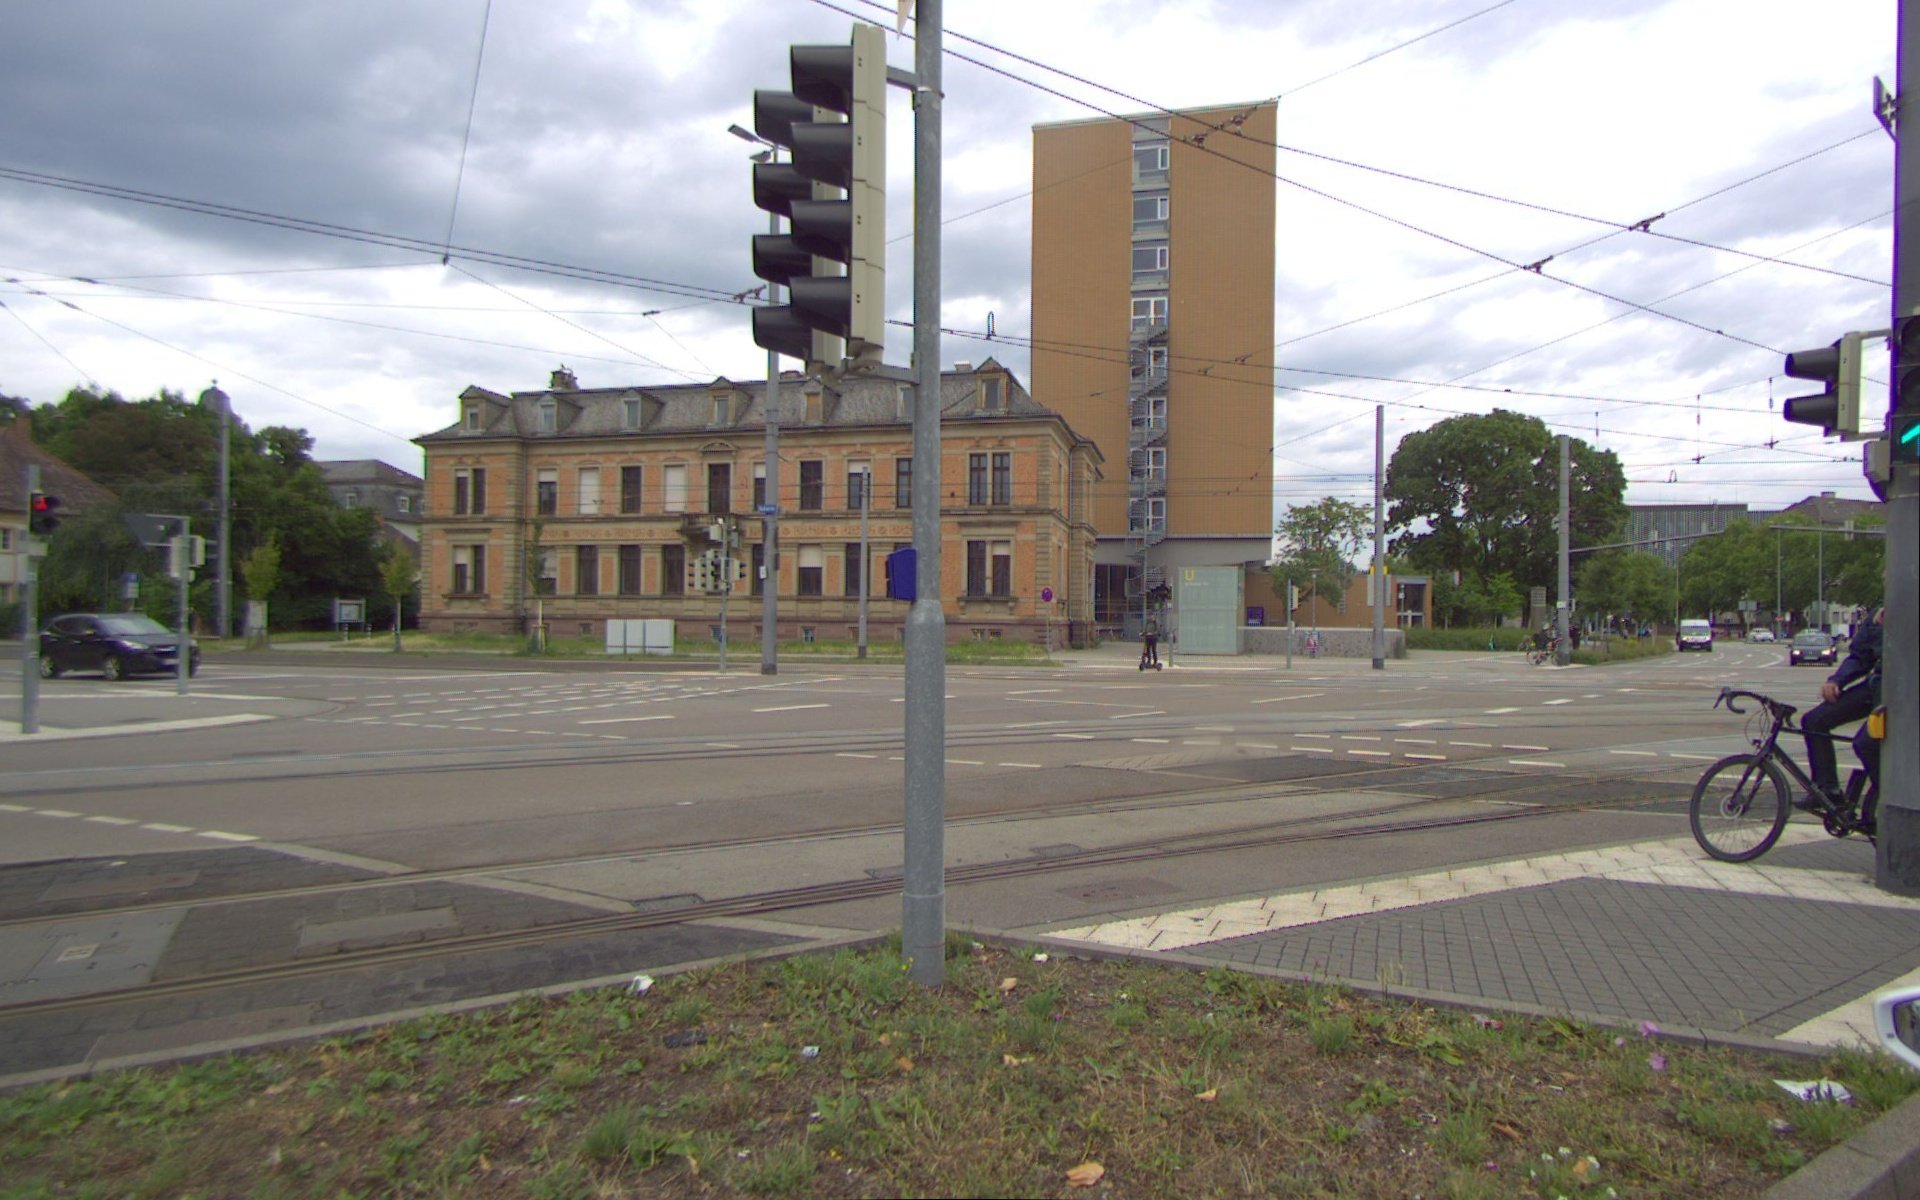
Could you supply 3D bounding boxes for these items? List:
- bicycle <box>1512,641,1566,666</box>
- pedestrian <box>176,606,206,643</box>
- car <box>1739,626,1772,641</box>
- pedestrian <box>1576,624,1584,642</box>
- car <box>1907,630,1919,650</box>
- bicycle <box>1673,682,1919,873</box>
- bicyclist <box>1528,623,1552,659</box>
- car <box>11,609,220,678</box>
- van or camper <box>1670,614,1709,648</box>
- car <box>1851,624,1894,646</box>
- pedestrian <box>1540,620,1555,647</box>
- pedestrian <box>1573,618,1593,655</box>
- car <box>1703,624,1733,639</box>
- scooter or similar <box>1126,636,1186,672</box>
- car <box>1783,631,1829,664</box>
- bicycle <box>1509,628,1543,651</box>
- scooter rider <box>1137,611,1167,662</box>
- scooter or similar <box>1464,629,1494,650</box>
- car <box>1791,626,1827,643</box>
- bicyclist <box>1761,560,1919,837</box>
[{"bbox_3d":[27.669,2.540,48.010,2.090,1.042,0.790,2,1,43],"label":"bicycle"},{"bbox_3d":[-38.555,1.217,50.350,0.832,1.857,0.810,1,-1,12],"label":"pedestrian"},{"bbox_3d":[91.753,3.895,115.875,1.962,1.661,3.998,0,-1,23],"label":"car"},{"bbox_3d":[54.792,2.924,88.783,0.554,1.562,0.753,0,-1,36],"label":"pedestrian"},{"bbox_3d":[77.981,3.215,80.509,1.963,1.559,3.994,0,-1,28],"label":"car"},{"bbox_3d":[5.552,1.098,6.377,1.582,1.084,0.528,0,-1,20],"label":"bicycle"},{"bbox_3d":[27.713,1.954,47.974,0.803,1.679,0.789,3,2,42],"label":"bicyclist"},{"bbox_3d":[-21.794,1.085,25.989,4.159,1.632,2.001,0,-1,13],"label":"car"},{"bbox_3d":[58.141,2.482,80.125,2.248,2.561,5.557,-1,-2,34],"label":"van or camper"},{"bbox_3d":[85.088,3.256,93.707,1.963,2.040,3.996,0,-1,26],"label":"car"},{"bbox_3d":[38.706,2.186,66.171,0.739,1.757,0.681,-1,-1,45],"label":"pedestrian"},{"bbox_3d":[34.541,2.014,55.728,0.810,2.007,0.654,-1,-1,45],"label":"pedestrian"},{"bbox_3d":[96.728,4.032,128.251,1.960,1.795,4.001,0,-1,19],"label":"car"},{"bbox_3d":[6.457,1.781,33.139,1.872,1.180,0.573,1,-1,-10],"label":"scooter or similar"},{"bbox_3d":[40.816,2.252,48.477,1.599,1.535,3.647,-1,-2,40],"label":"car"},{"bbox_3d":[36.738,2.586,65.208,2.224,1.468,0.844,1,-1,-26],"label":"bicycle"},{"bbox_3d":[6.336,1.191,33.135,0.807,1.649,0.568,1,-1,-10],"label":"scooter rider"},{"bbox_3d":[33.653,2.538,65.128,1.743,1.319,0.629,0,-1,28],"label":"scooter or similar"},{"bbox_3d":[92.609,3.756,109.572,1.962,1.773,3.997,0,-1,24],"label":"car"},{"bbox_3d":[5.579,0.596,6.371,0.642,1.661,0.518,0,-1,20],"label":"bicyclist"}]
